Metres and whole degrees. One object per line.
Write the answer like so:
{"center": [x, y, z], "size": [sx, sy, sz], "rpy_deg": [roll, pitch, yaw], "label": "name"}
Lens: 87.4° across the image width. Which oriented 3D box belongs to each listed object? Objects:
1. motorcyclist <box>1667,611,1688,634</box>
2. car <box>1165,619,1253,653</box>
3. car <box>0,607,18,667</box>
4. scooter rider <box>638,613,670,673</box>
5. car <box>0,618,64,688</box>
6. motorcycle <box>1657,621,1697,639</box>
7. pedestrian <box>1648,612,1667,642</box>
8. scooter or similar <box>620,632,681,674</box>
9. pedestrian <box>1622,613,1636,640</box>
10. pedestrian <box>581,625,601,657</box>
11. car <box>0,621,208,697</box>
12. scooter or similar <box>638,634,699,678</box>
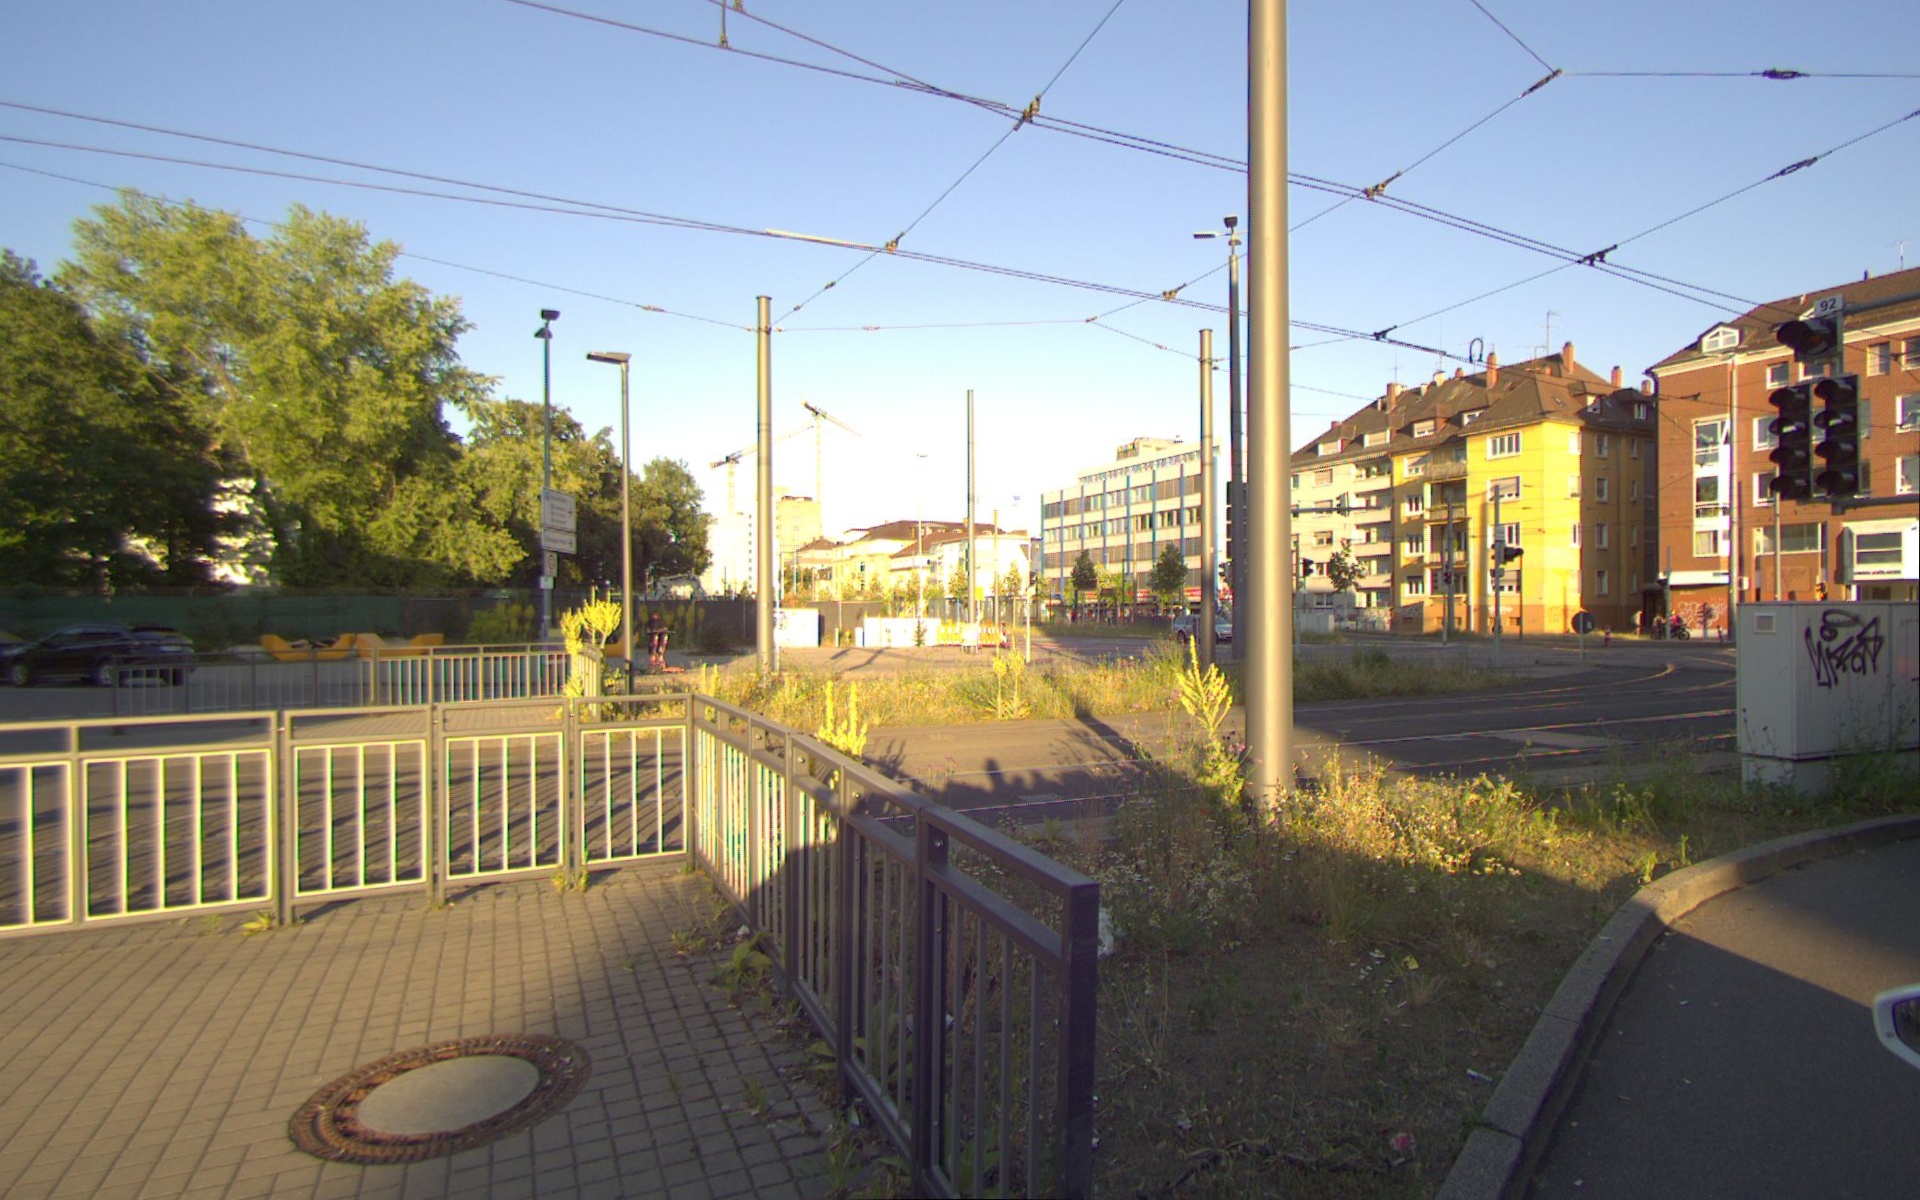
{"center": [40.391, 1.274, 56.539], "size": [0.779, 1.237, 0.701], "rpy_deg": [0, 1, -28], "label": "motorcyclist"}
{"center": [12.647, 1.792, 51.308], "size": [1.976, 1.572, 4.319], "rpy_deg": [0, 0, -29], "label": "car"}
{"center": [-34.462, 1.248, 33.532], "size": [3.947, 2.040, 1.987], "rpy_deg": [0, -1, -26], "label": "car"}
{"center": [-8.496, 1.182, 27.869], "size": [0.653, 1.614, 0.579], "rpy_deg": [0, 1, -43], "label": "scooter rider"}
{"center": [-24.991, 1.293, 25.134], "size": [3.919, 1.598, 2.001], "rpy_deg": [1, 1, 14], "label": "car"}
{"center": [40.329, 1.669, 56.539], "size": [0.426, 0.921, 1.827], "rpy_deg": [0, 1, -26], "label": "motorcycle"}
{"center": [42.250, 1.645, 60.824], "size": [0.654, 1.766, 0.691], "rpy_deg": [1, 0, 4], "label": "pedestrian"}
{"center": [-8.563, 1.460, 27.821], "size": [0.421, 1.077, 1.614], "rpy_deg": [2, 1, 43], "label": "scooter or similar"}
{"center": [42.933, 1.695, 64.433], "size": [0.494, 1.664, 0.549], "rpy_deg": [0, 1, -23], "label": "pedestrian"}
{"center": [-14.912, 1.656, 40.576], "size": [0.694, 1.227, 0.722], "rpy_deg": [0, 1, -23], "label": "pedestrian"}
{"center": [-20.467, 1.359, 23.985], "size": [3.919, 1.567, 2.001], "rpy_deg": [1, 1, 14], "label": "car"}
{"center": [-7.936, 1.514, 27.375], "size": [0.421, 1.097, 1.614], "rpy_deg": [2, 1, 43], "label": "scooter or similar"}
